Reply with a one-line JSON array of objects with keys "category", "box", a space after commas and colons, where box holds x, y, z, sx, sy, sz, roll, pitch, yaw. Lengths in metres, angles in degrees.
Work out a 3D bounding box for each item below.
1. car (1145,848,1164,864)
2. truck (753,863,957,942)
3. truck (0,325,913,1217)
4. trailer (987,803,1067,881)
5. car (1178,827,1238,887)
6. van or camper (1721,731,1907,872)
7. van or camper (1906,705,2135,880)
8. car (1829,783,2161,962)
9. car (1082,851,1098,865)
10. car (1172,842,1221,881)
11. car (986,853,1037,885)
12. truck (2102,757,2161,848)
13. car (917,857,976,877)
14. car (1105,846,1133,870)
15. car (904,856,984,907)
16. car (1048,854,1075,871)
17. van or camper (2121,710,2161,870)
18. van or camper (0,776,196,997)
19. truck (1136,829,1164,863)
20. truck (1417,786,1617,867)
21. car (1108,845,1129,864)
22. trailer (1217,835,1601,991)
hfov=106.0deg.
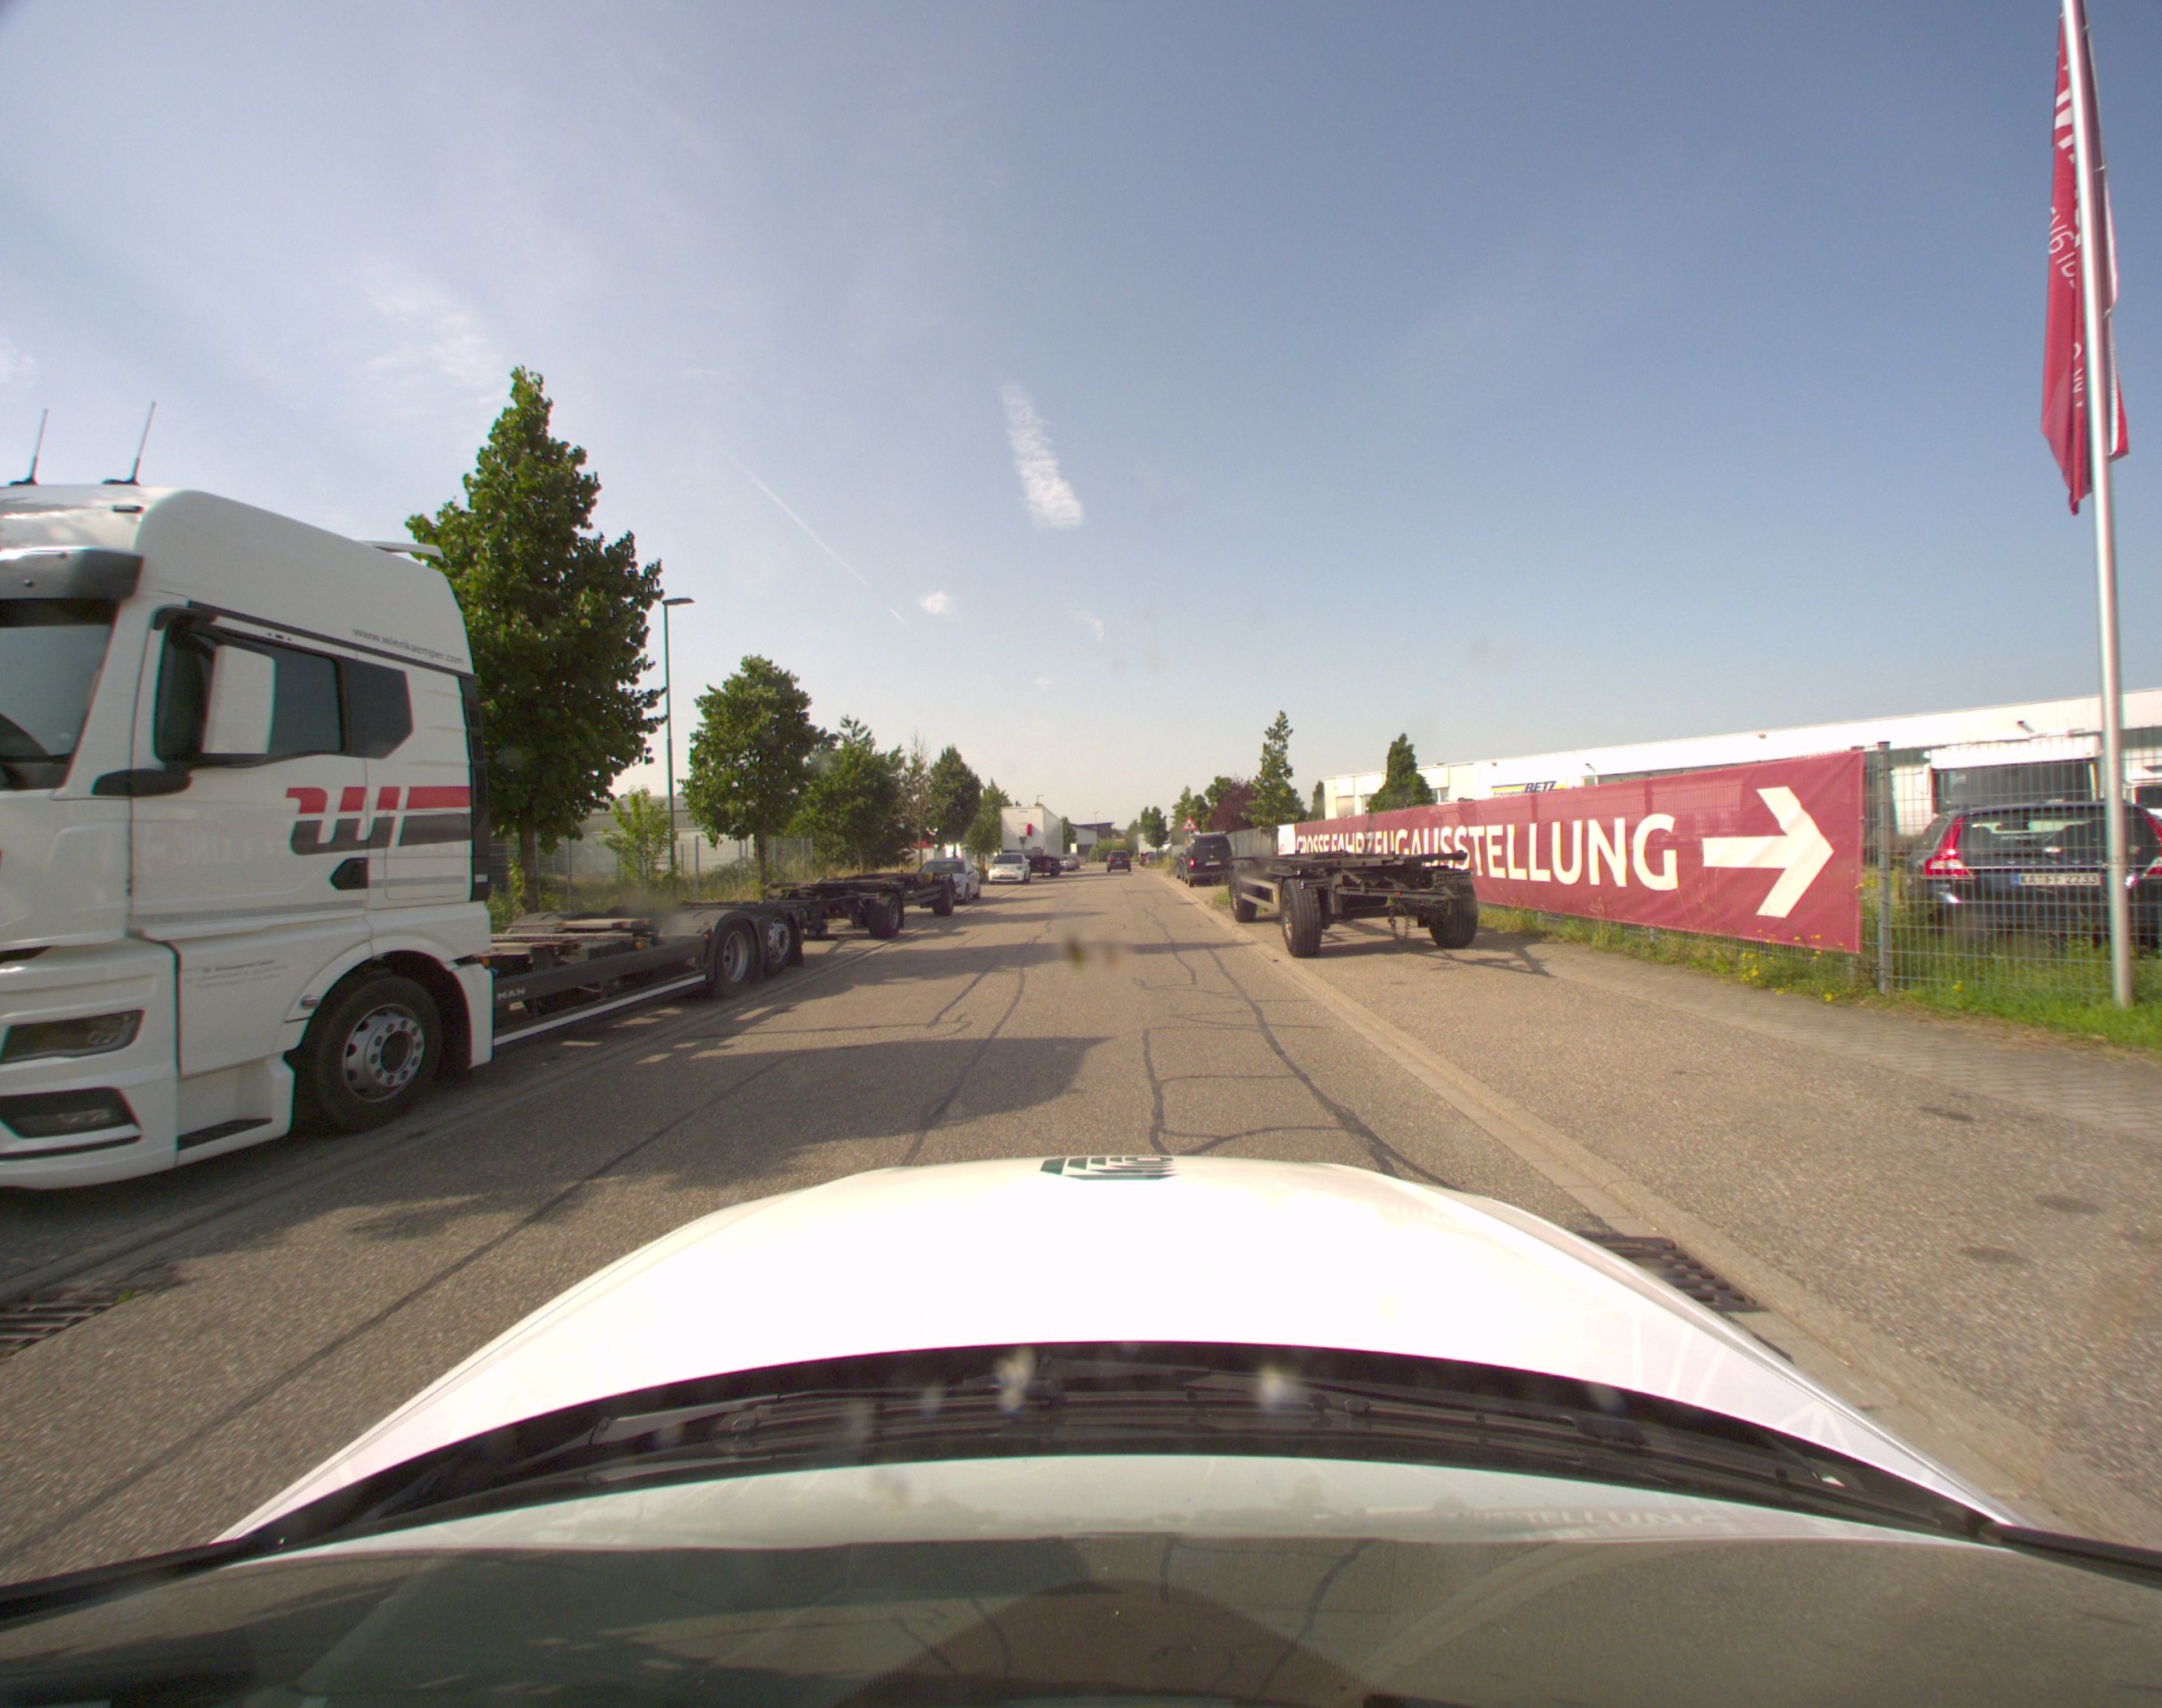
[{"category": "car", "box": [7.400, 0.226, 82.230, 1.810, 1.449, 3.806, -3, 0, 4]}, {"category": "truck", "box": [-4.705, 0.933, 18.409, 2.514, 1.265, 6.531, -2, 0, 2]}, {"category": "truck", "box": [-5.225, -0.350, 10.105, 2.614, 3.929, 12.933, -1, 0, 4]}, {"category": "trailer", "box": [-3.232, -0.704, 53.895, 3.389, 4.340, 13.932, -2, 0, 3]}, {"category": "car", "box": [4.733, 0.088, 30.862, 1.810, 1.978, 4.005, -5, 0, 5]}, {"category": "van or camper", "box": [19.085, -1.259, 21.043, 6.831, 3.084, 2.639, -3, 1, -40]}, {"category": "van or camper", "box": [20.513, -1.209, 18.099, 8.015, 3.084, 2.773, -3, 1, -43]}, {"category": "car", "box": [10.192, 0.102, 8.564, 4.009, 1.476, 2.153, -2, 0, -27]}, {"category": "car", "box": [1.272, 0.496, 110.233, 1.985, 1.772, 4.003, -2, 0, 2]}, {"category": "car", "box": [5.081, 0.295, 36.328, 1.810, 1.449, 3.806, -5, 0, 4]}, {"category": "car", "box": [-3.322, 0.682, 39.726, 1.802, 1.427, 4.005, -2, 0, 4]}, {"category": "truck", "box": [32.880, -1.531, 24.360, 8.045, 2.471, 2.429, -2, 0, -42]}, {"category": "car", "box": [-9.969, 0.960, 60.400, 3.963, 1.340, 1.621, -2, 0, 9]}, {"category": "car", "box": [3.004, 0.317, 65.358, 1.987, 1.804, 3.999, -2, 0, 0]}, {"category": "car", "box": [-4.324, 0.821, 26.317, 1.879, 1.436, 3.999, -2, 0, -1]}, {"category": "car", "box": [-1.836, 0.803, 78.656, 1.983, 1.523, 4.007, -2, 0, 6]}, {"category": "van or camper", "box": [22.843, -1.283, 15.570, 8.015, 3.084, 2.923, -3, 1, -43]}, {"category": "van or camper", "box": [-13.684, 0.412, 8.999, 2.298, 2.560, 4.952, -2, 0, 0]}, {"category": "truck", "box": [7.841, -0.931, 93.206, 2.874, 3.586, 8.072, -3, 0, 5]}, {"category": "truck", "box": [23.497, -1.326, 44.404, 2.473, 3.972, 9.199, -2, 0, -44]}, {"category": "car", "box": [3.873, 0.037, 83.526, 1.984, 1.804, 4.006, -2, 0, 5]}, {"category": "trailer", "box": [4.055, 0.580, 12.867, 2.612, 1.388, 9.461, -4, 0, 3]}]
